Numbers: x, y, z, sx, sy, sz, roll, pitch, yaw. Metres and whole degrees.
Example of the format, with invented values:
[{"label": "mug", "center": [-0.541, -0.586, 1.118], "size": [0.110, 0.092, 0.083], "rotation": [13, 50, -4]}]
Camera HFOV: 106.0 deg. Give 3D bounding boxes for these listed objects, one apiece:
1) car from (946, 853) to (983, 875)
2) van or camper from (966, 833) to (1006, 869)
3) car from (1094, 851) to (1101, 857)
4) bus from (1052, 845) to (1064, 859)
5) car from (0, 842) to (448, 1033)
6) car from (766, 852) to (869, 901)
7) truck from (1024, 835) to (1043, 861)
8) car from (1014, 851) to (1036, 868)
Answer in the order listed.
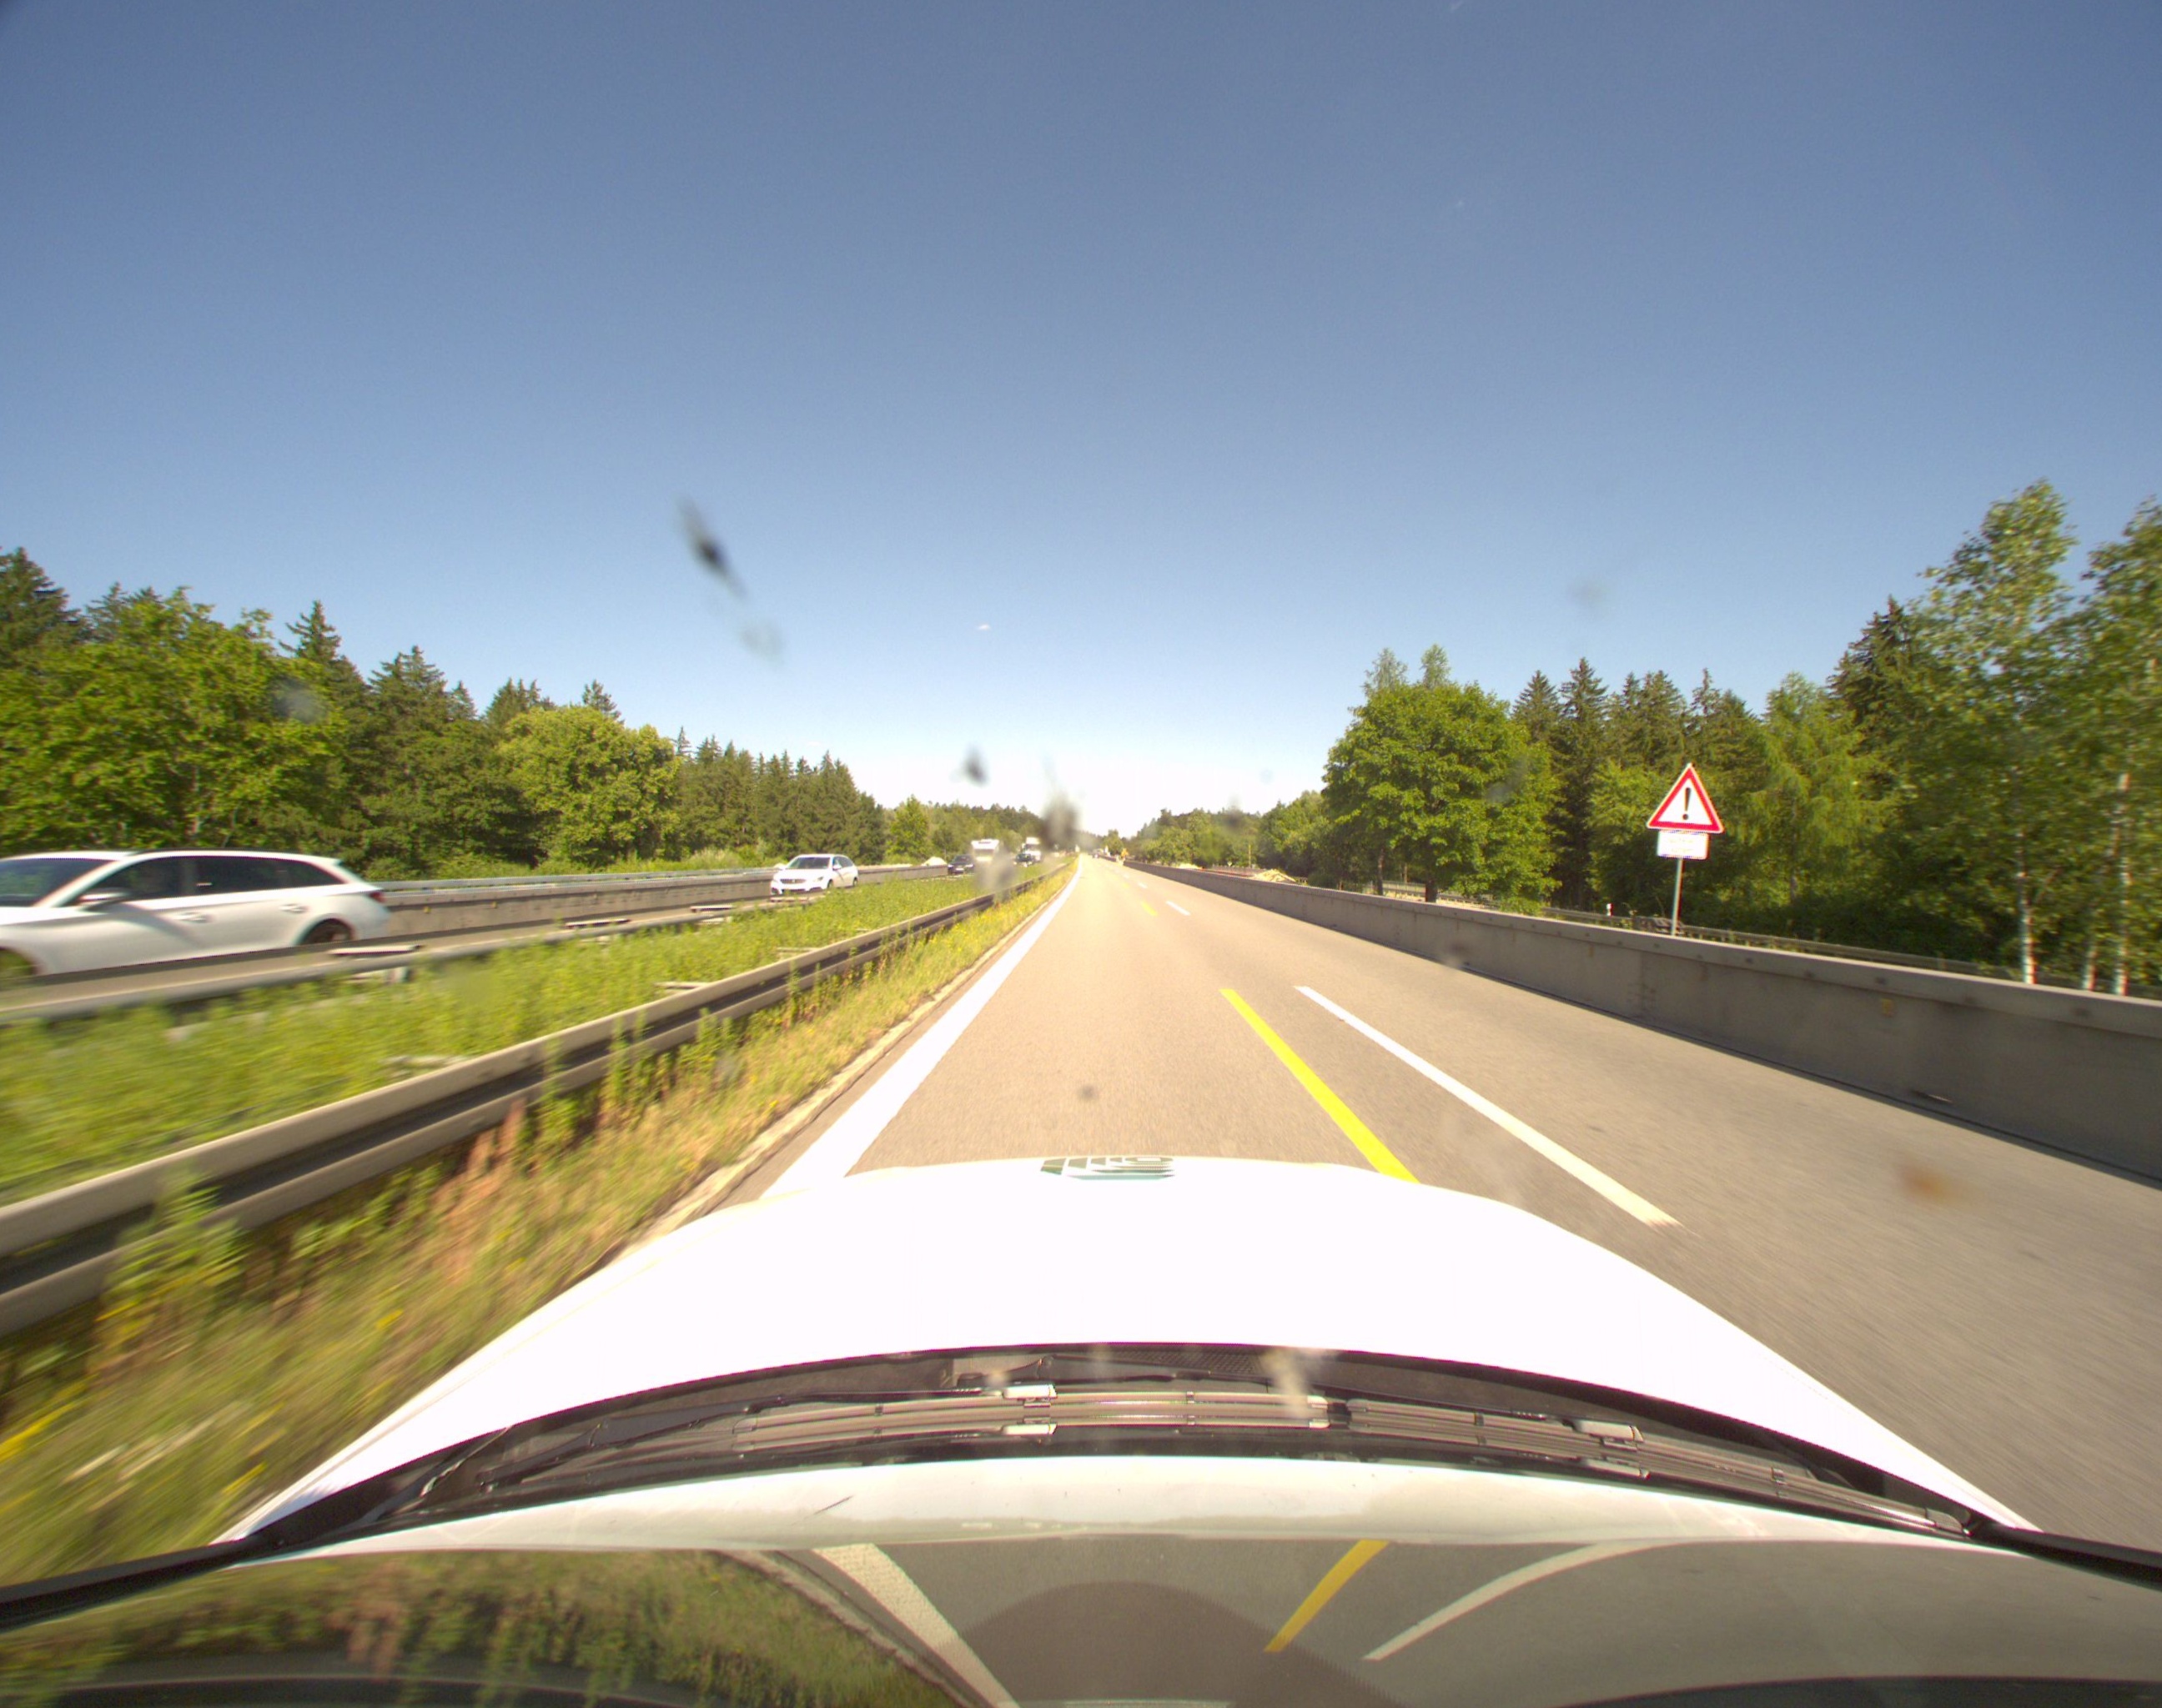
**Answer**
[{"label": "car", "center": [-8.365, 0.668, 58.954], "size": [1.735, 1.432, 5.236], "rotation": [-3, 0, 1]}, {"label": "van or camper", "center": [-8.372, -0.253, 72.537], "size": [2.397, 2.950, 7.524], "rotation": [0, 0, 1]}, {"label": "car", "center": [4.483, 0.001, 224.963], "size": [1.738, 1.466, 4.293], "rotation": [1, 0, 0]}, {"label": "bus", "center": [-6.488, -0.567, 231.583], "size": [2.873, 3.670, 12.913], "rotation": [2, 0, -1]}, {"label": "car", "center": [-9.032, 0.635, 7.860], "size": [1.876, 1.432, 4.984], "rotation": [0, 0, 1]}, {"label": "car", "center": [-8.666, 0.680, 27.258], "size": [1.695, 1.432, 4.956], "rotation": [-2, 0, 1]}, {"label": "truck", "center": [-7.682, -0.907, 131.864], "size": [2.761, 4.088, 5.475], "rotation": [-1, 0, 0]}, {"label": "car", "center": [-5.267, 0.496, 76.998], "size": [1.735, 1.530, 4.001], "rotation": [-2, 0, 1]}]
